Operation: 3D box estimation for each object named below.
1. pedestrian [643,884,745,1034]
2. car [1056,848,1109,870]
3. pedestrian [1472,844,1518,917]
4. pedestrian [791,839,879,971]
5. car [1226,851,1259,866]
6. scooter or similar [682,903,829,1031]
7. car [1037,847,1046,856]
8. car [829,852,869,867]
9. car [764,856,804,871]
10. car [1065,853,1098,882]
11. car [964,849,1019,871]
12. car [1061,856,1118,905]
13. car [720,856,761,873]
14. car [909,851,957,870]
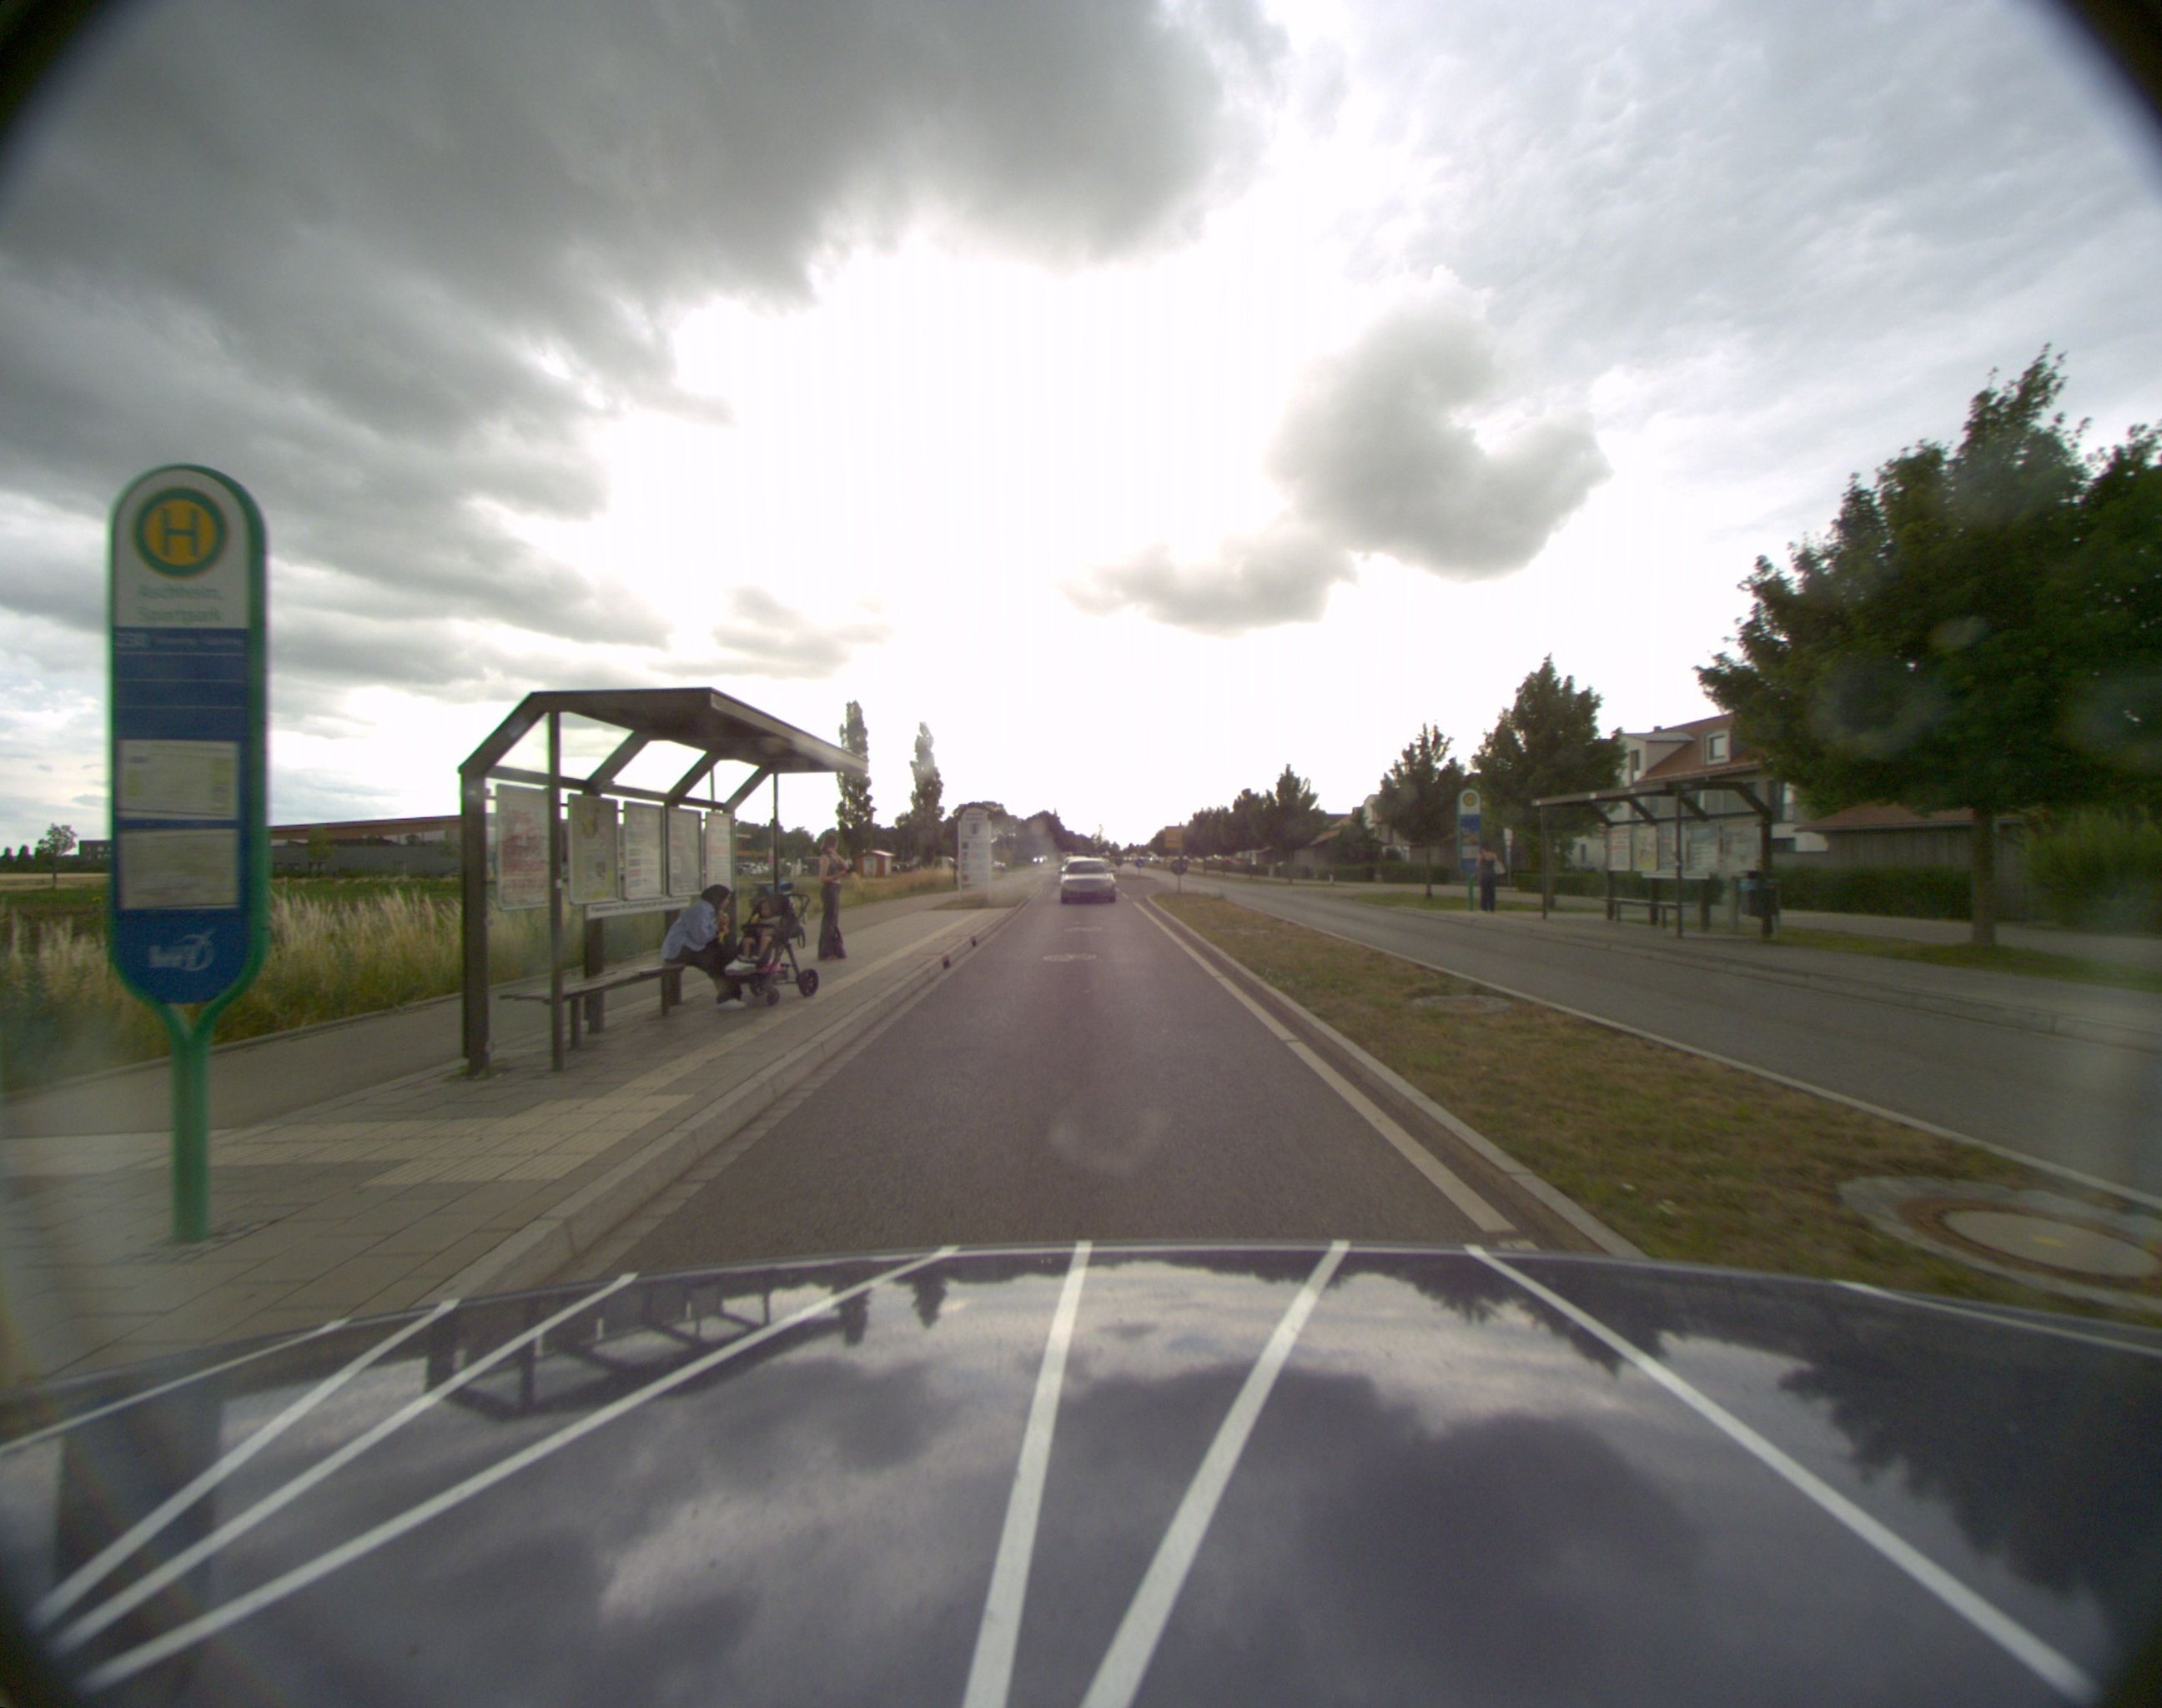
[{"bbox_3d":[-3.617,0.957,7.148,0.667,1.295,0.504,-3,1,-9],"label":"pedestrian"},{"bbox_3d":[0.190,0.458,78.552,5.313,2.002,2.562,-2,1,1],"label":"car"},{"bbox_3d":[9.447,0.592,17.365,0.590,1.627,0.813,-1,1,0],"label":"pedestrian"},{"bbox_3d":[-3.481,0.700,10.782,0.782,1.782,0.780,-2,1,21],"label":"pedestrian"},{"bbox_3d":[24.142,0.689,113.596,4.568,2.002,2.000,-2,1,4],"label":"car"},{"bbox_3d":[-3.169,1.059,7.454,0.707,1.056,1.062,-2,1,37],"label":"scooter or similar"},{"bbox_3d":[-9.328,-0.562,180.153,1.998,2.002,3.999,-2,1,0],"label":"car"},{"bbox_3d":[-35.844,0.829,117.531,5.527,2.002,1.999,-3,1,-6],"label":"car"},{"bbox_3d":[-47.814,1.520,122.450,5.527,2.002,1.999,-3,1,-6],"label":"car"},{"bbox_3d":[0.030,0.758,44.109,1.763,1.495,4.690,-3,1,0],"label":"car"},{"bbox_3d":[-9.182,0.568,78.319,5.313,2.002,2.000,-2,1,1],"label":"car"},{"bbox_3d":[0.260,0.837,26.337,1.763,1.410,4.519,-3,1,0],"label":"car"},{"bbox_3d":[-47.980,1.469,107.221,4.858,2.002,1.998,-3,1,-8],"label":"car"},{"bbox_3d":[-18.256,0.792,93.781,5.527,2.002,1.999,-3,1,-6],"label":"car"}]
